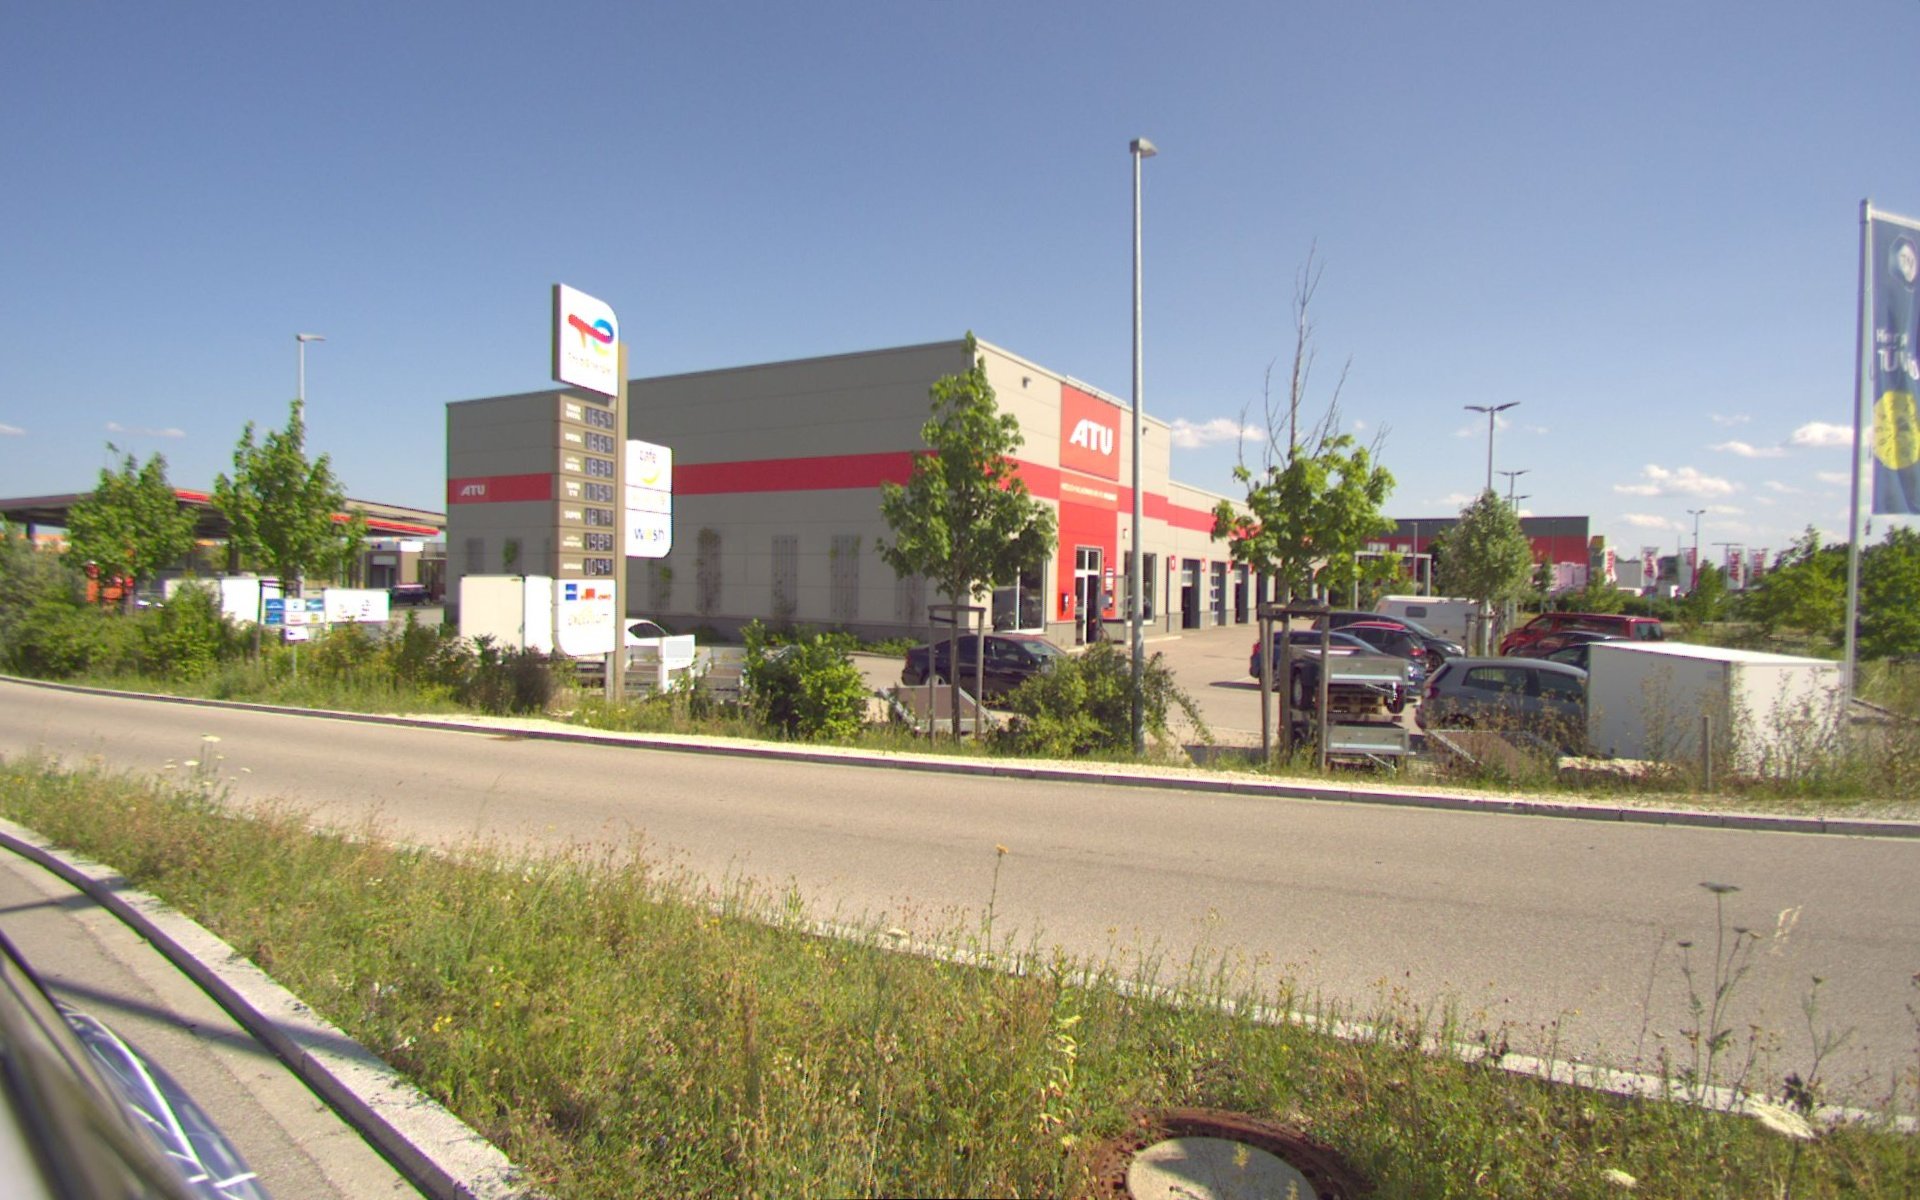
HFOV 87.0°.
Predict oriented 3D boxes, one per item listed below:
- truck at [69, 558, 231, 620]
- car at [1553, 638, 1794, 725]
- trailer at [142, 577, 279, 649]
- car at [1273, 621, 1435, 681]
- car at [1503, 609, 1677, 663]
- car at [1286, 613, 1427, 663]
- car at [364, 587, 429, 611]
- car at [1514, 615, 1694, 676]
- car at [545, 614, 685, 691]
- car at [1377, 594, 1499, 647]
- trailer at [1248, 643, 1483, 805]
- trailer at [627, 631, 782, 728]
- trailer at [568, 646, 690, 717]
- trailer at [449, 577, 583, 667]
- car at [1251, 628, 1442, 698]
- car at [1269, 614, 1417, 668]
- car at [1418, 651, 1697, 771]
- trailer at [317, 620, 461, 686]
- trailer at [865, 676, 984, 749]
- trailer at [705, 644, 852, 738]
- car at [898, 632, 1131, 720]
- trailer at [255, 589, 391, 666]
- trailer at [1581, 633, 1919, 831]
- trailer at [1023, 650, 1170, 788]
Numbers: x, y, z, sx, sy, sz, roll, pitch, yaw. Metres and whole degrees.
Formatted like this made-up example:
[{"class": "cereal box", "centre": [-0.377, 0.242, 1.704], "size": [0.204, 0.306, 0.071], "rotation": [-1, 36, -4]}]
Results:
[{"class": "truck", "centre": [-46.485, -0.621, 58.346], "size": [2.624, 3.343, 6.854], "rotation": [0, 1, 22]}, {"class": "car", "centre": [15.847, 1.746, 22.724], "size": [1.794, 1.475, 4.014], "rotation": [2, 1, -25]}, {"class": "trailer", "centre": [-22.604, 0.351, 30.690], "size": [1.969, 2.029, 3.211], "rotation": [0, 1, -6]}, {"class": "car", "centre": [11.141, 1.395, 28.677], "size": [3.990, 1.475, 1.804], "rotation": [0, 1, 34]}, {"class": "car", "centre": [19.975, 1.086, 32.325], "size": [1.794, 1.475, 4.470], "rotation": [-1, 1, -25]}, {"class": "car", "centre": [12.853, 1.183, 32.853], "size": [3.990, 1.475, 1.804], "rotation": [0, 1, 34]}, {"class": "car", "centre": [-39.701, -0.087, 71.351], "size": [1.694, 1.586, 3.637], "rotation": [0, 1, 39]}, {"class": "car", "centre": [18.326, 1.241, 29.011], "size": [1.794, 1.475, 4.013], "rotation": [-1, 1, -25]}, {"class": "car", "centre": [-7.942, 1.155, 23.675], "size": [1.697, 1.548, 3.995], "rotation": [0, 1, 4]}, {"class": "car", "centre": [19.263, 0.791, 40.834], "size": [4.332, 2.029, 1.884], "rotation": [0, 1, 30]}, {"class": "trailer", "centre": [5.536, 1.616, 14.359], "size": [1.782, 1.785, 3.697], "rotation": [0, 1, -1]}, {"class": "trailer", "centre": [-4.649, 1.391, 18.825], "size": [1.533, 1.495, 3.179], "rotation": [0, 1, 12]}, {"class": "trailer", "centre": [-6.252, 1.510, 19.352], "size": [1.303, 1.094, 2.773], "rotation": [0, 1, 3]}, {"class": "trailer", "centre": [-10.605, 0.476, 24.411], "size": [1.724, 2.029, 3.238], "rotation": [0, 1, 2]}, {"class": "car", "centre": [9.035, 1.413, 23.703], "size": [3.983, 1.475, 1.807], "rotation": [0, -2, 29]}, {"class": "car", "centre": [11.807, 1.212, 31.288], "size": [3.990, 1.475, 1.804], "rotation": [0, 1, 34]}, {"class": "car", "centre": [9.616, 1.705, 16.506], "size": [3.731, 1.563, 1.725], "rotation": [0, 1, 32]}, {"class": "trailer", "centre": [-15.336, 1.379, 27.391], "size": [1.580, 1.521, 3.594], "rotation": [-1, 1, 6]}, {"class": "trailer", "centre": [-0.537, 1.856, 17.130], "size": [1.841, 0.888, 2.837], "rotation": [0, 1, 1]}, {"class": "trailer", "centre": [-3.131, 1.540, 17.929], "size": [1.378, 1.332, 2.895], "rotation": [0, 1, 17]}, {"class": "car", "centre": [1.047, 1.457, 20.559], "size": [4.486, 1.495, 1.783], "rotation": [0, 0, 34]}, {"class": "trailer", "centre": [-17.763, 0.719, 28.353], "size": [1.975, 2.029, 2.732], "rotation": [0, 1, 6]}, {"class": "trailer", "centre": [9.698, 1.444, 12.450], "size": [1.782, 1.785, 3.698], "rotation": [-1, 2, -1]}, {"class": "trailer", "centre": [1.960, 1.701, 15.516], "size": [1.684, 1.462, 3.698], "rotation": [0, 3, -1]}]
